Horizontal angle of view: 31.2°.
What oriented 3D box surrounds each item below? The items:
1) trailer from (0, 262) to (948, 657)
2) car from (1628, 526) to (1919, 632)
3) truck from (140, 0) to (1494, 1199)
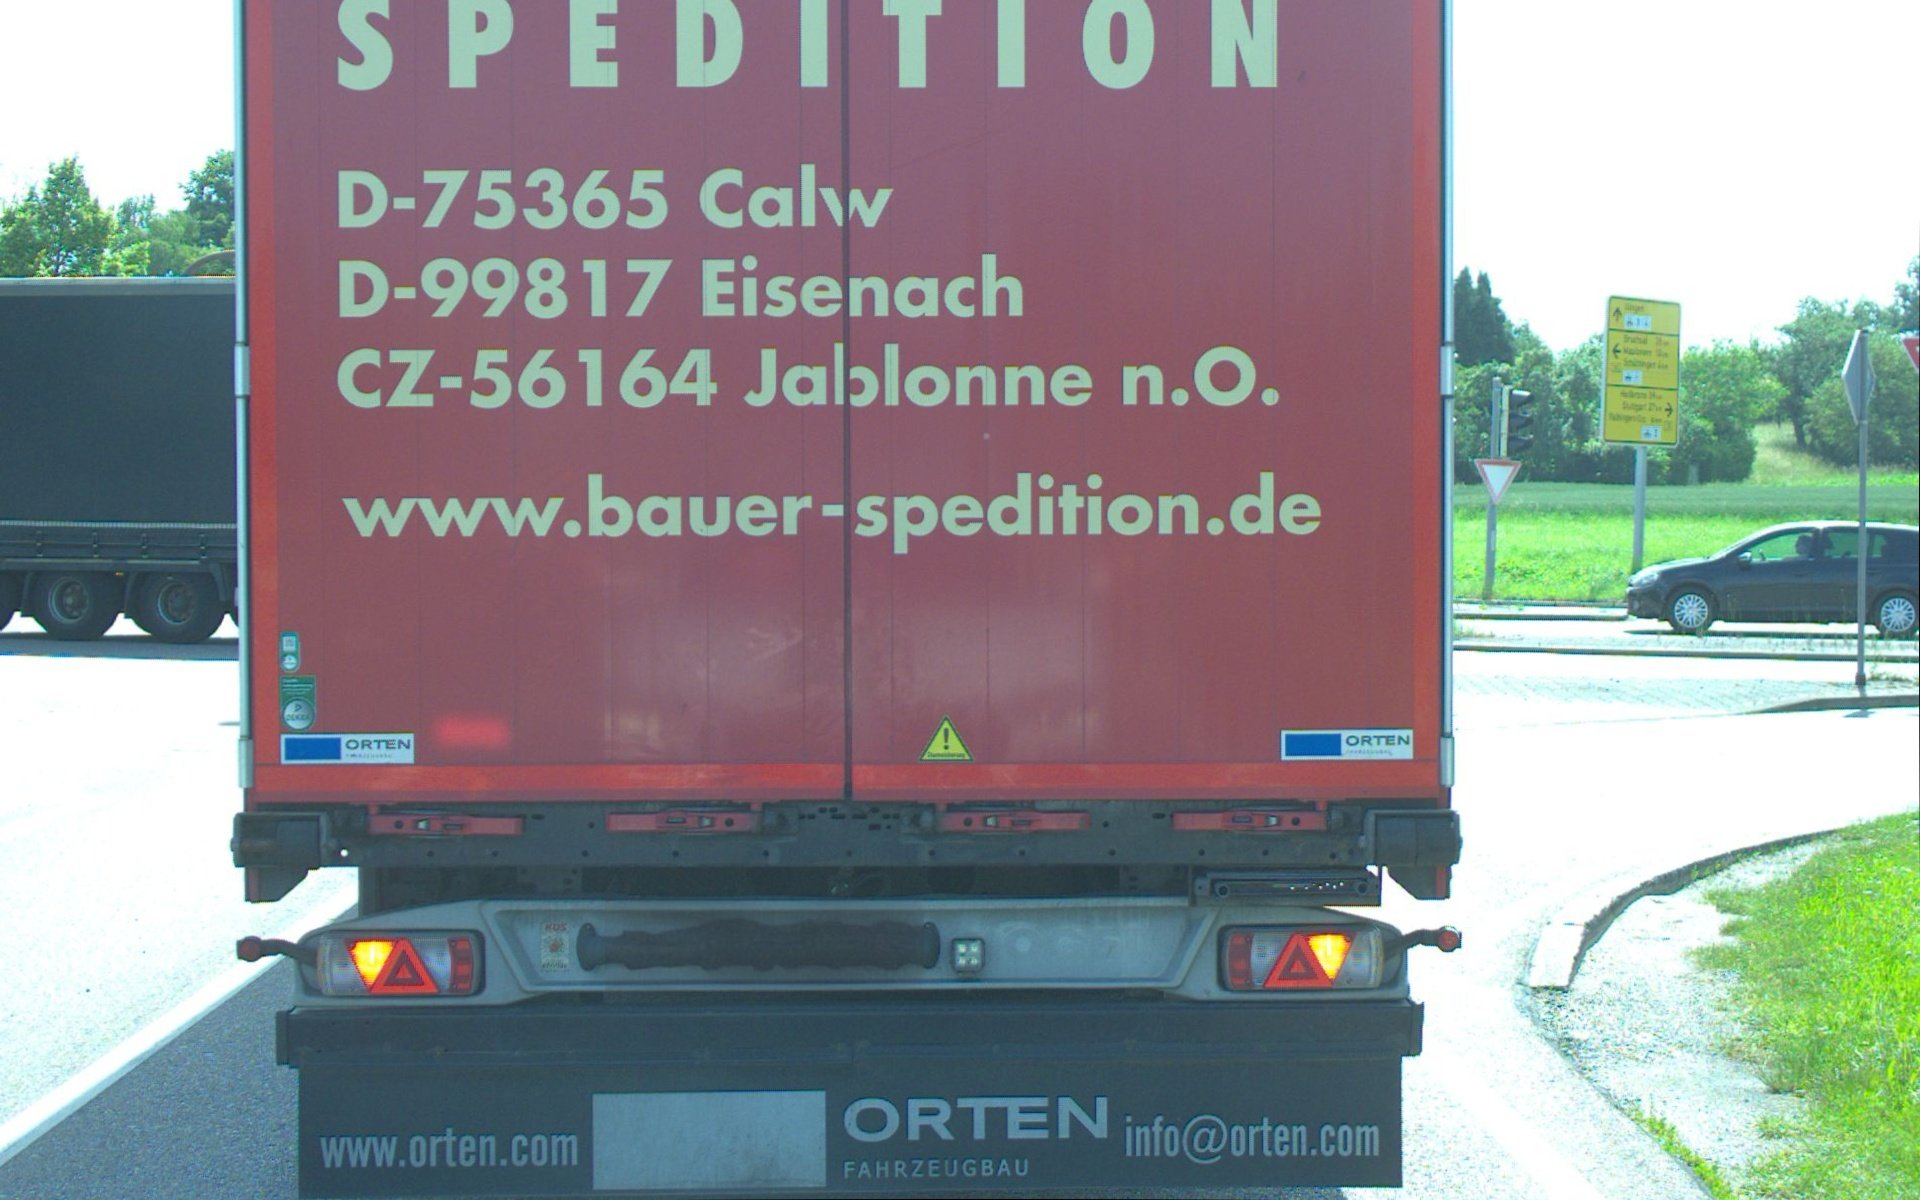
[{"bbox_3d":[-7.126,-1.631,38.277,13.693,4.047,2.796,1,2,14],"label":"trailer"},{"bbox_3d":[10.740,-0.271,44.627,3.989,1.306,1.765,1,0,13],"label":"car"},{"bbox_3d":[-0.416,-0.852,15.284,2.734,3.911,16.627,0,1,-1],"label":"truck"}]
